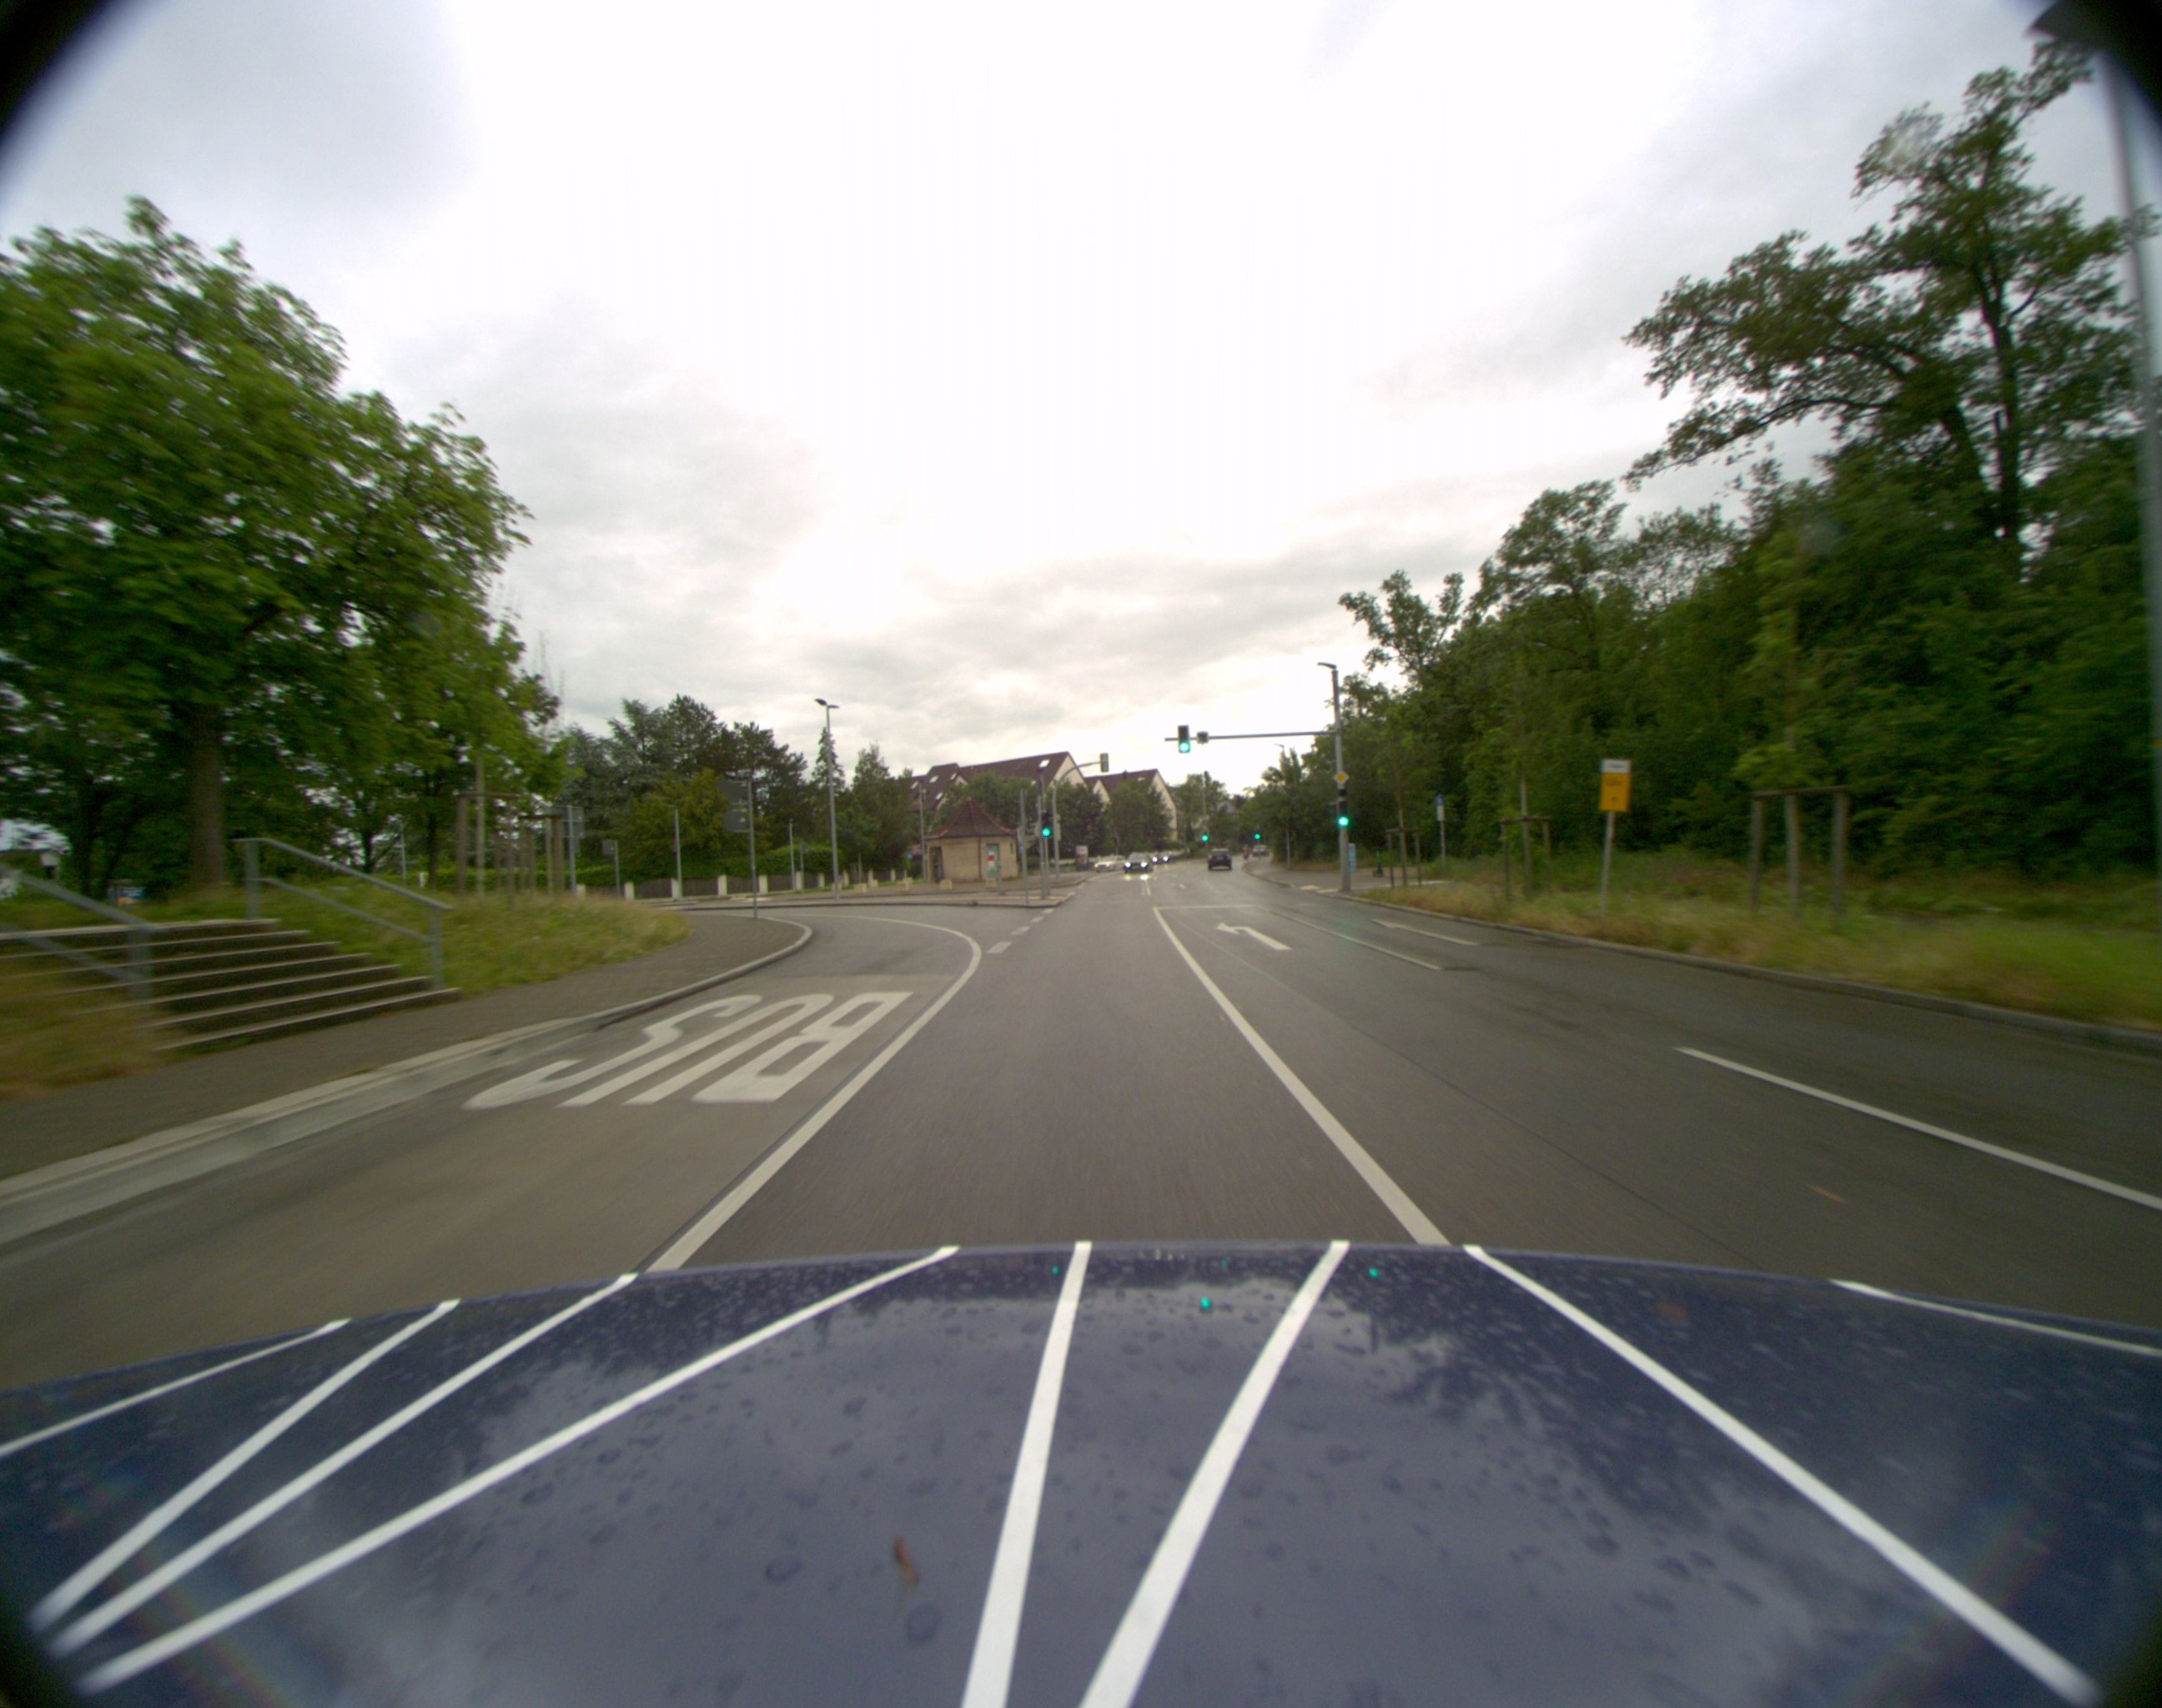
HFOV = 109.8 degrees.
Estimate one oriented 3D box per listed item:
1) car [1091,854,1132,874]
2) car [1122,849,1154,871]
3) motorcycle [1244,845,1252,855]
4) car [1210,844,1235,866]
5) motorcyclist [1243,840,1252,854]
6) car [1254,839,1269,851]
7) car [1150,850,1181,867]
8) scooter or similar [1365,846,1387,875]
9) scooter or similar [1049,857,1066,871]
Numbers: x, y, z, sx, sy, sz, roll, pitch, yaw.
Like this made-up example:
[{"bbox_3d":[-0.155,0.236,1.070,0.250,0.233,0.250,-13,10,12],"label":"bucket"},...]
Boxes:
[{"bbox_3d":[2.715,0.853,66.478,1.942,1.594,4.611,-2,1,24],"label":"car"},{"bbox_3d":[4.250,0.411,56.872,1.945,1.446,4.603,-2,1,-1],"label":"car"},{"bbox_3d":[18.530,-0.479,84.419,0.595,1.044,2.001,-3,0,18],"label":"motorcycle"},{"bbox_3d":[10.906,0.073,58.776,1.792,1.572,4.564,-2,0,10],"label":"car"},{"bbox_3d":[18.463,-0.776,84.260,0.746,1.623,0.928,-2,1,18],"label":"motorcyclist"},{"bbox_3d":[22.762,-1.151,95.681,1.743,1.344,4.214,-1,0,15],"label":"car"},{"bbox_3d":[9.060,0.430,81.395,1.942,1.594,4.611,-2,1,24],"label":"car"},{"bbox_3d":[12.731,0.274,32.820,0.518,1.205,1.470,-3,1,10],"label":"scooter or similar"},{"bbox_3d":[-2.248,0.965,72.173,1.350,1.200,0.525,-6,1,18],"label":"scooter or similar"}]
